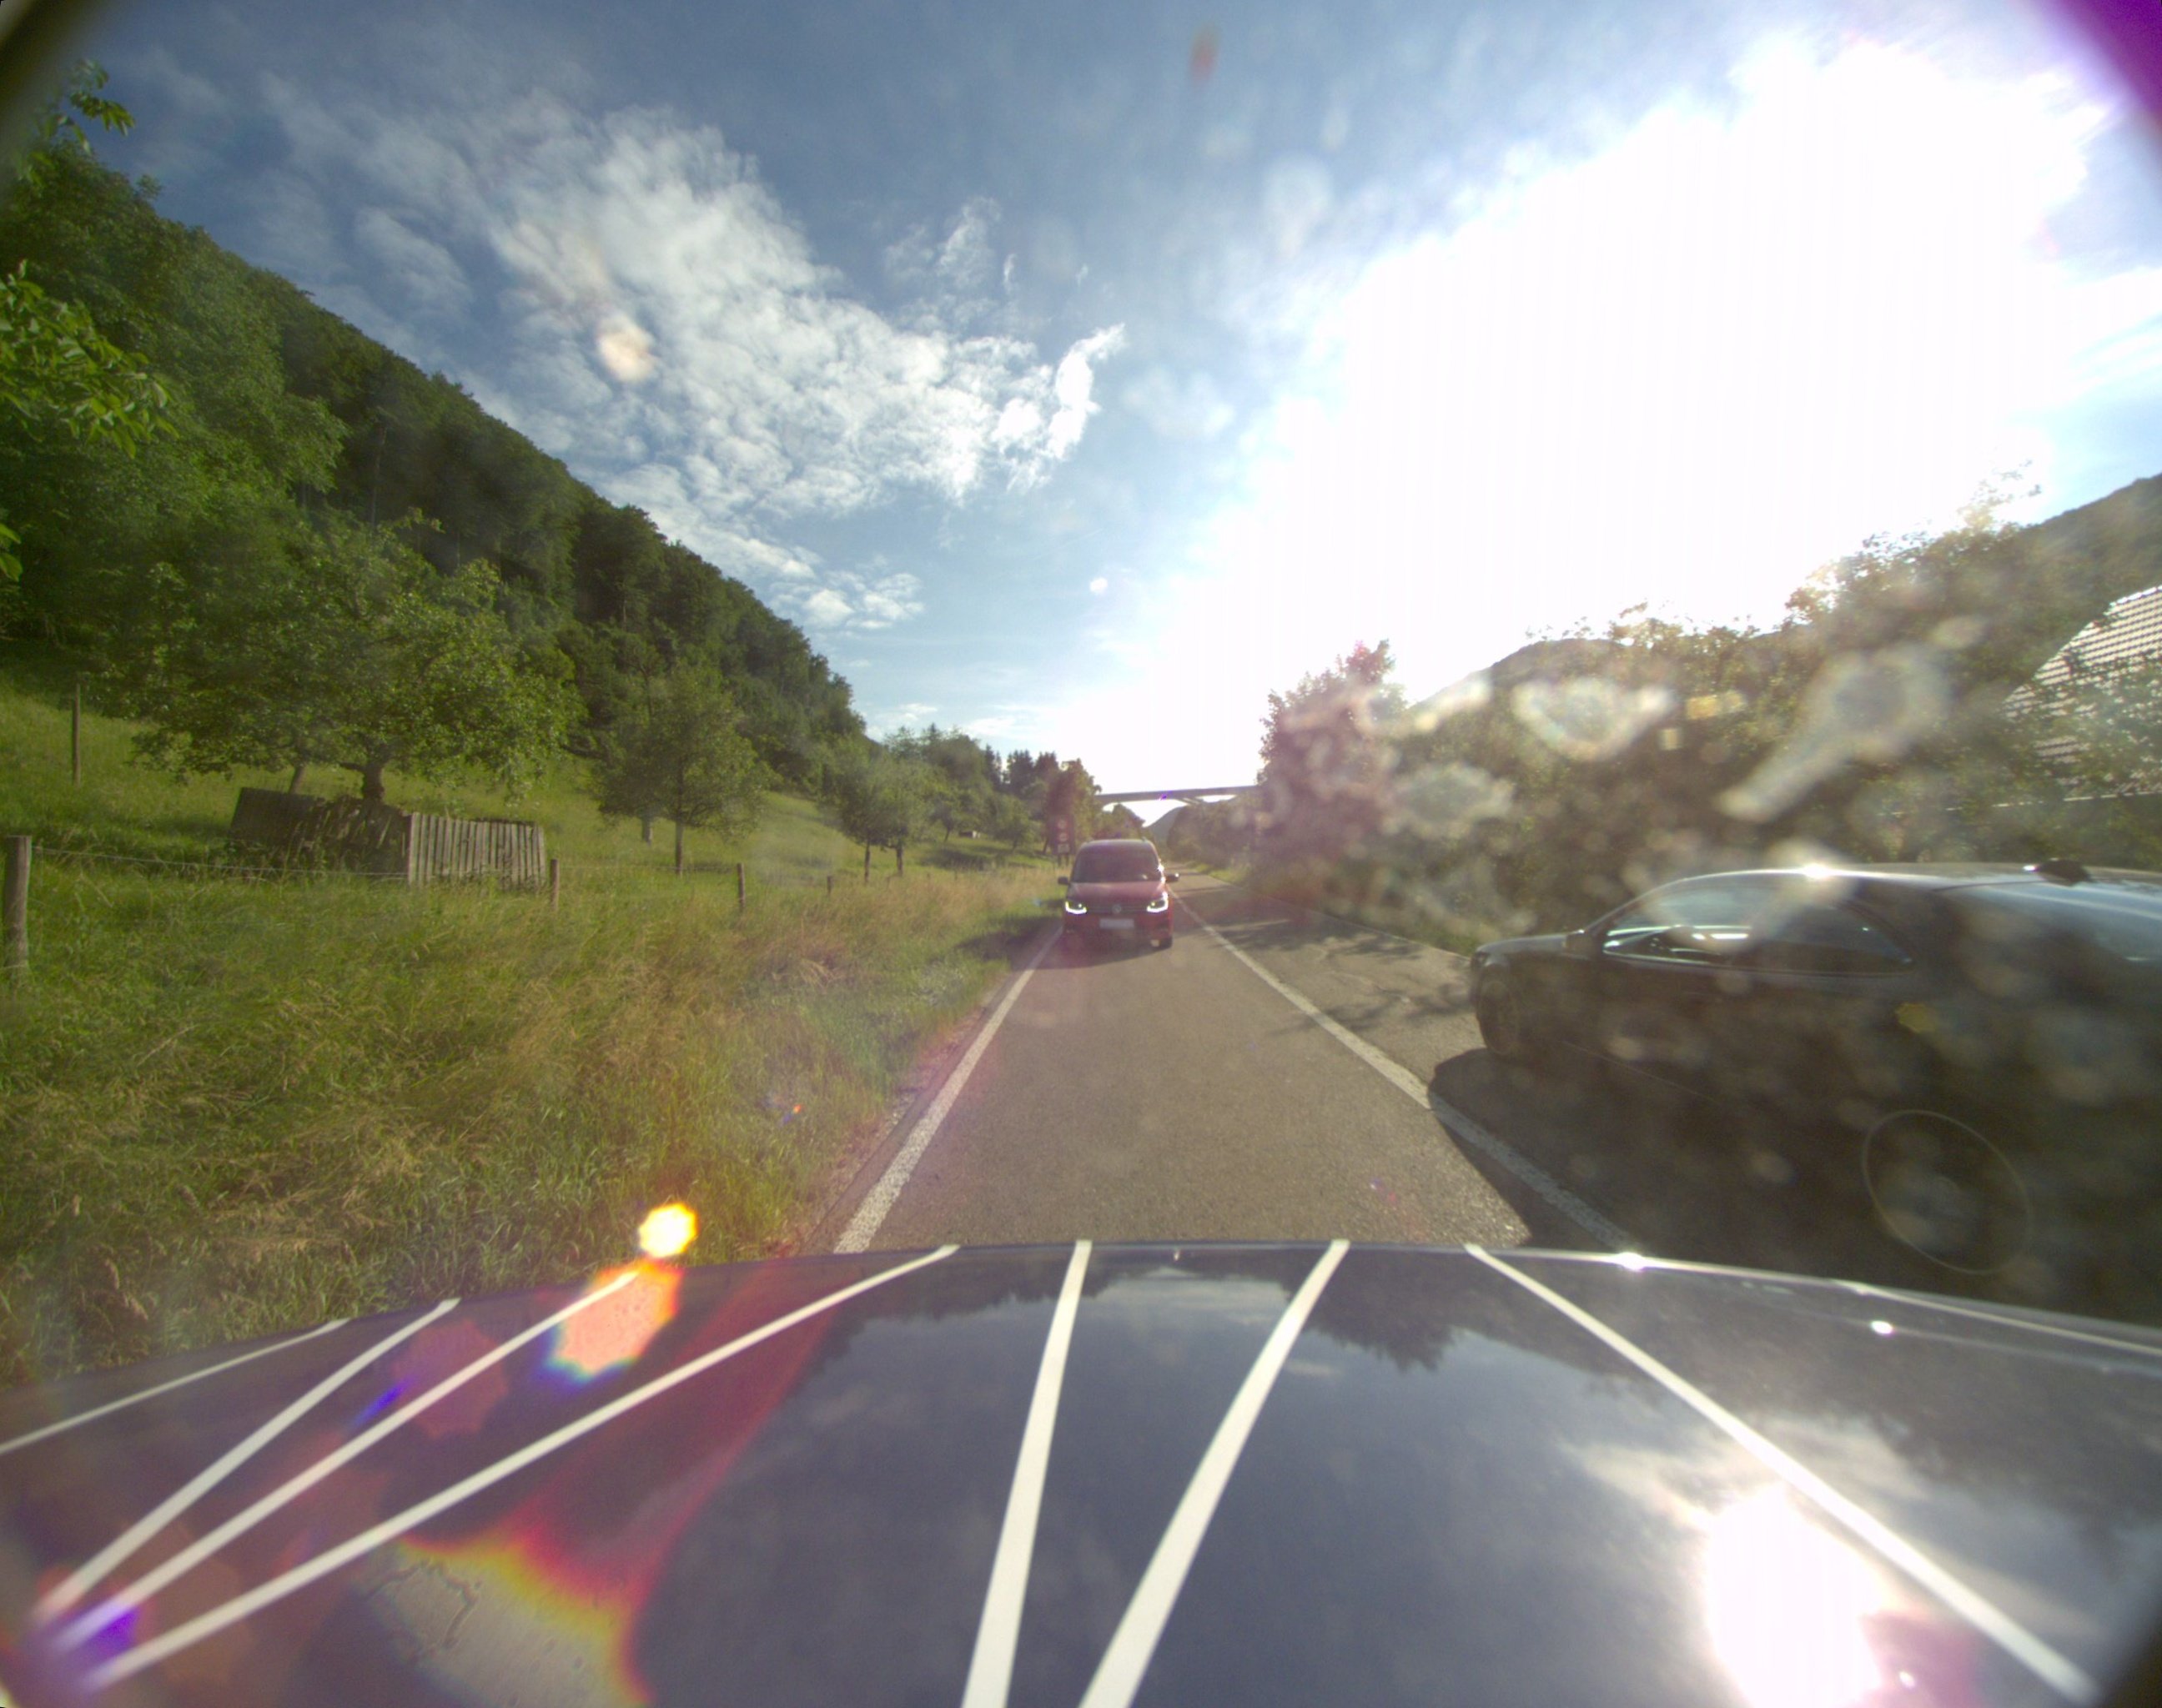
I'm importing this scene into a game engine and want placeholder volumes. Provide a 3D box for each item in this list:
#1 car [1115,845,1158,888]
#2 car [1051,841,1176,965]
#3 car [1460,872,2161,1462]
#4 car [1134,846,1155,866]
[{"bbox_3d":[2.419,0.507,33.703,1.759,1.745,4.000,-2,1,3],"label":"car"},{"bbox_3d":[0.613,0.689,13.275,1.759,1.745,4.430,-2,1,4],"label":"car"},{"bbox_3d":[3.556,0.854,3.366,1.598,1.346,4.202,-2,1,0],"label":"car"},{"bbox_3d":[6.690,0.189,80.772,1.998,2.002,4.000,-2,1,2],"label":"car"}]
